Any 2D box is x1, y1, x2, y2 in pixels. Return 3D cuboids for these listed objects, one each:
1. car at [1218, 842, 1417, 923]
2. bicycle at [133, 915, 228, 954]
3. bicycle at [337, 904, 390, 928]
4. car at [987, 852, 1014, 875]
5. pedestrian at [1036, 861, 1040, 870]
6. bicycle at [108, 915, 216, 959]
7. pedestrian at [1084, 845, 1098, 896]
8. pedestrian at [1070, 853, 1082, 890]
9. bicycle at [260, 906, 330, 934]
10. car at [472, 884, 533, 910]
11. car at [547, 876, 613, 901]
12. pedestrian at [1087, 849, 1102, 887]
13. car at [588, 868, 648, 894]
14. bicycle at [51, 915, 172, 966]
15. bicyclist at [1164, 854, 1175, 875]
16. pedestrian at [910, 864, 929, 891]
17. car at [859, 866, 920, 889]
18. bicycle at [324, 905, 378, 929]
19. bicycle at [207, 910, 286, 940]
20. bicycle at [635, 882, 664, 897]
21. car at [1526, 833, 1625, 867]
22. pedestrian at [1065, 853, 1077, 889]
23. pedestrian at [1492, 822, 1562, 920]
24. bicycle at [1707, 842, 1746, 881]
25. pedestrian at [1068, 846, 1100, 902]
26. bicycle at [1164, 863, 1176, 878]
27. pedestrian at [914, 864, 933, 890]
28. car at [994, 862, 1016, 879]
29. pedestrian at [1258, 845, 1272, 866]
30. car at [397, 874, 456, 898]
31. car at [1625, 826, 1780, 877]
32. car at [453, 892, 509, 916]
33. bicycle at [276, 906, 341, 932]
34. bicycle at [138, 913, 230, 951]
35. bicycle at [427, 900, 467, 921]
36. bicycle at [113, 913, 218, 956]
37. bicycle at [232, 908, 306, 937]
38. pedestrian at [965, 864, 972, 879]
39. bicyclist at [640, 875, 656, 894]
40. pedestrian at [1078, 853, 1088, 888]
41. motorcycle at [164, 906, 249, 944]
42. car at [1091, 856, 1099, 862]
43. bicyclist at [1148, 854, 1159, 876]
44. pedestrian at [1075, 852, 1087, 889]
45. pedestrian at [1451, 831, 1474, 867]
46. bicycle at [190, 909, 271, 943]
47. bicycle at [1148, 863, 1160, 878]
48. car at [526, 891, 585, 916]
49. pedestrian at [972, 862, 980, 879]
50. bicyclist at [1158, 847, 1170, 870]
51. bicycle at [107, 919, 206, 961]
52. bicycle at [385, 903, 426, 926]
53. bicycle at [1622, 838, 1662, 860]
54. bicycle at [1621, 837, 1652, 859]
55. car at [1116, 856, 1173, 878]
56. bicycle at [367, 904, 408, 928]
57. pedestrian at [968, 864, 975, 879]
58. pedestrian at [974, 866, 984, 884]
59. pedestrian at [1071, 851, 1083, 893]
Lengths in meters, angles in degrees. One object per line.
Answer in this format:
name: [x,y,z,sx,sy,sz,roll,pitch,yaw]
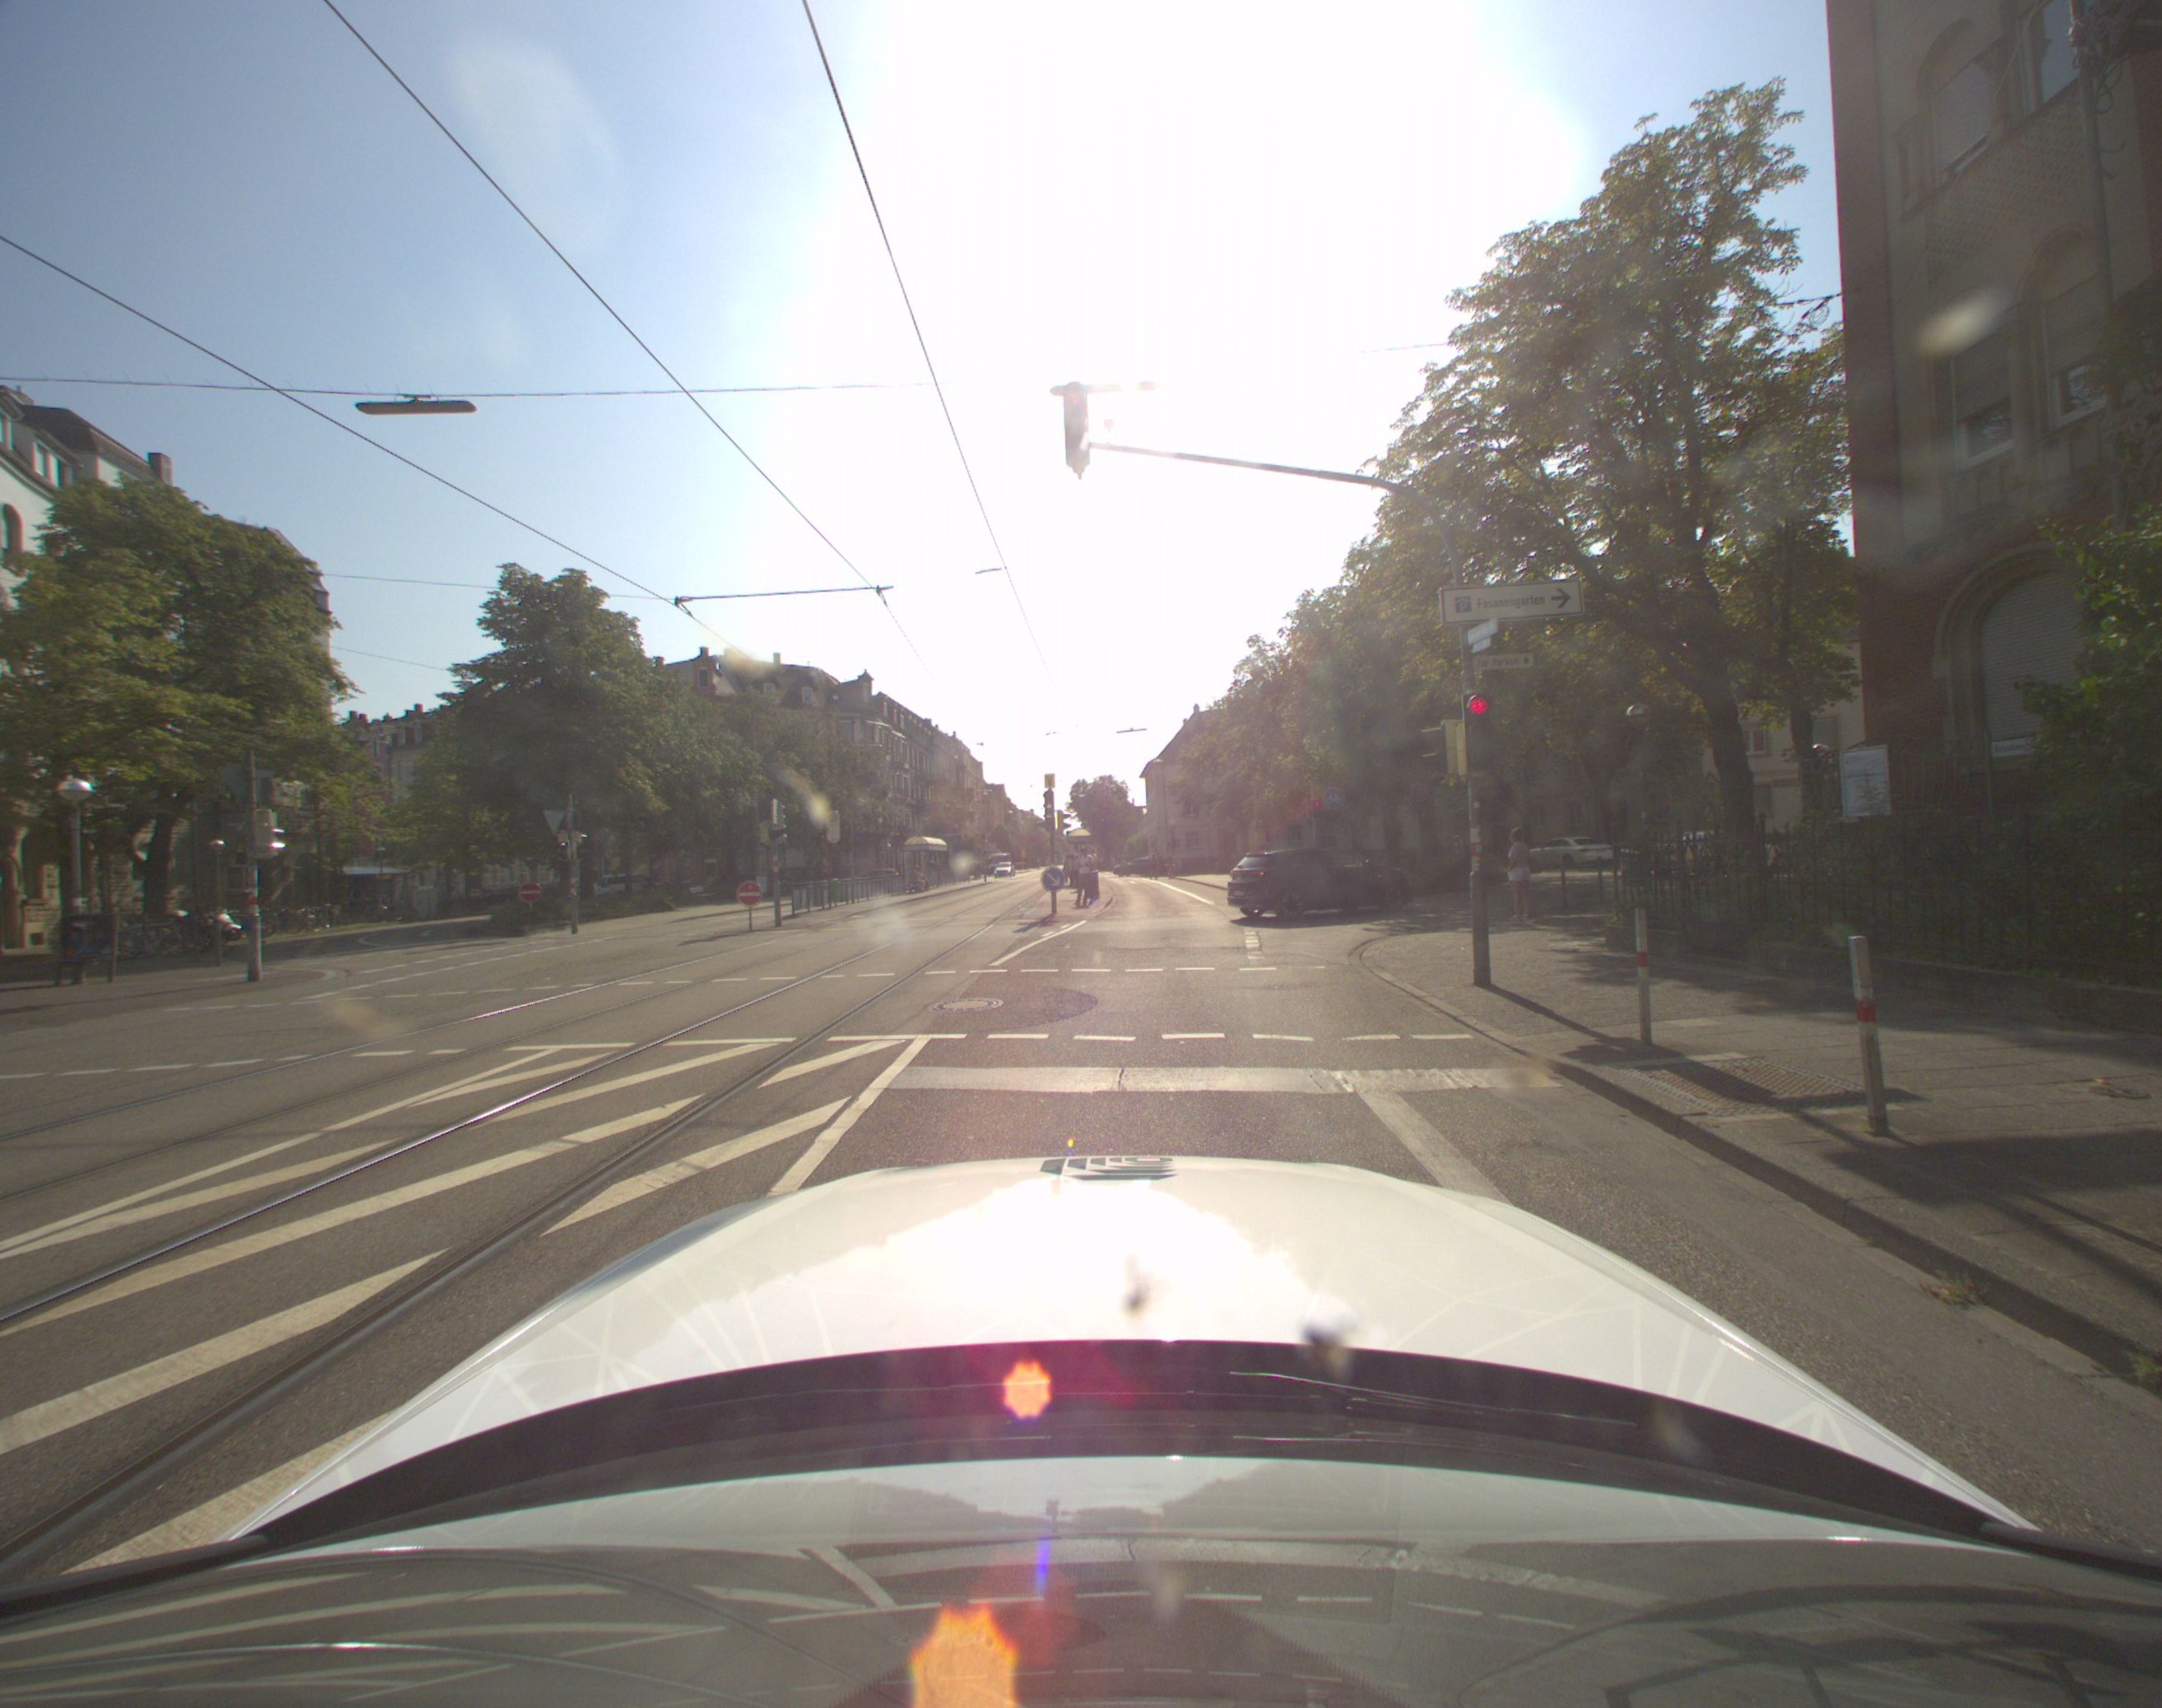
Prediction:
car: [5.420,0.599,18.702,4.229,1.515,1.601,-3,0,-20]
bicycle: [-26.735,2.363,24.225,1.814,0.984,0.563,-2,-2,-40]
bicycle: [-34.456,2.981,39.109,1.772,0.978,0.601,-3,0,-22]
car: [-10.080,1.173,101.960,2.336,2.662,5.112,-3,0,5]
pedestrian: [-8.217,2.183,155.977,0.749,1.731,0.769,-3,-1,-8]
bicycle: [-24.842,2.216,22.040,0.562,1.003,1.890,-3,-1,37]
pedestrian: [0.364,0.596,29.993,0.502,1.834,0.534,0,2,1]
pedestrian: [-0.215,0.820,38.715,0.541,1.759,0.534,0,2,1]
bicycle: [-31.701,2.659,32.875,1.908,0.980,0.679,-2,-1,-33]
car: [-45.204,3.389,63.642,3.951,1.828,2.011,-3,0,24]
car: [-36.907,2.551,60.000,4.283,1.569,2.011,-3,-1,24]
pedestrian: [0.646,0.668,38.891,0.706,1.759,0.534,0,2,1]
car: [-35.909,2.108,63.168,3.952,1.828,2.011,-3,0,22]
bicycle: [-24.705,2.183,20.796,0.563,1.113,1.888,-3,-1,22]
bicyclist: [6.151,0.727,56.664,0.556,1.417,0.871,-3,0,-1]
pedestrian: [-8.418,1.223,42.493,0.826,1.359,0.775,-3,-1,-4]
car: [-15.524,1.901,66.042,4.351,1.569,1.980,-2,-1,-32]
bicycle: [-34.339,2.977,38.331,1.771,0.978,0.516,-3,0,-21]
bicycle: [-30.795,2.625,30.097,1.919,0.935,0.730,-2,-1,-33]
bicycle: [-31.787,2.601,60.014,1.844,0.958,0.548,-3,0,1]
car: [23.265,-0.157,38.486,1.752,1.428,4.134,-3,0,-8]
pedestrian: [-0.510,0.841,40.948,0.530,1.759,0.545,0,2,2]
pedestrian: [8.190,0.311,14.986,0.749,1.731,0.769,-3,-1,-8]
bicycle: [17.806,0.201,22.451,1.779,0.978,0.421,-3,0,-39]
pedestrian: [0.099,0.621,25.729,0.693,1.725,0.753,1,2,34]
bicycle: [6.178,1.163,56.646,0.556,0.978,1.856,-3,0,0]
pedestrian: [-8.420,1.232,43.471,0.826,1.359,0.775,-3,-1,-4]
car: [-8.082,1.711,86.826,1.794,1.653,3.644,-3,0,2]
pedestrian: [16.111,0.130,71.373,0.882,1.740,0.781,-3,-1,34]
car: [-57.837,2.832,71.979,3.959,1.828,2.008,-3,0,13]
car: [20.858,-0.127,27.324,4.788,1.465,1.858,-2,4,-21]
car: [-51.331,4.285,69.649,3.952,1.828,2.011,-3,0,22]
bicycle: [-32.461,2.718,34.227,1.877,0.935,0.635,-2,-1,-17]
bicycle: [-27.580,2.384,25.075,1.814,0.983,0.652,-2,-1,-40]
bicycle: [-33.423,2.983,42.940,1.754,0.978,0.607,-3,0,8]
bicycle: [-25.890,2.265,23.081,1.887,1.034,0.563,-2,-1,-38]
bicycle: [-31.377,2.638,31.509,1.908,0.980,0.679,-2,-1,-33]
pedestrian: [-13.062,2.032,94.529,0.749,1.731,0.769,-3,-1,-8]
bicyclist: [-31.934,2.230,60.027,0.816,1.328,0.549,-3,0,2]
pedestrian: [0.114,0.832,41.519,0.502,1.759,0.534,0,2,1]
motorcycle: [-29.936,2.421,27.913,1.882,1.154,0.601,-2,-1,-33]
car: [4.297,1.534,257.650,1.982,1.783,4.009,-2,-1,8]
bicyclist: [5.109,0.802,57.206,0.627,1.507,0.678,-3,0,-1]
pedestrian: [0.015,0.813,39.521,0.541,1.759,0.534,0,2,1]
pedestrian: [19.107,-0.250,40.777,0.883,1.740,0.780,-3,-1,20]
bicycle: [-30.220,2.539,28.968,1.885,1.027,0.657,-2,-1,-33]
bicycle: [5.121,1.175,57.205,0.627,0.978,1.770,-3,0,0]
car: [-42.636,3.995,66.101,3.952,1.828,2.011,-3,0,22]
pedestrian: [-11.029,1.738,85.518,0.749,1.731,0.769,-3,-1,-8]
bicyclist: [7.124,0.394,69.919,0.980,1.857,0.494,-3,-1,9]
bicycle: [-23.809,2.203,21.006,0.473,0.920,1.619,-3,-1,31]
bicycle: [-32.842,2.941,39.614,0.423,0.978,1.770,-3,0,1]
bicycle: [27.692,-0.238,40.223,1.539,0.978,0.427,-3,0,16]
bicycle: [28.372,-0.310,41.592,1.555,1.038,0.423,-3,0,-18]
car: [5.252,1.042,67.261,4.287,1.569,2.009,-3,-1,18]
bicycle: [-33.223,2.947,39.032,0.423,0.978,1.770,-3,0,1]
pedestrian: [-13.099,2.068,97.488,0.749,1.731,0.769,-3,-1,-8]
pedestrian: [-10.454,2.155,83.353,0.747,1.731,0.772,-3,-1,3]
pedestrian: [-0.171,0.777,34.705,0.502,1.759,0.534,0,2,1]
